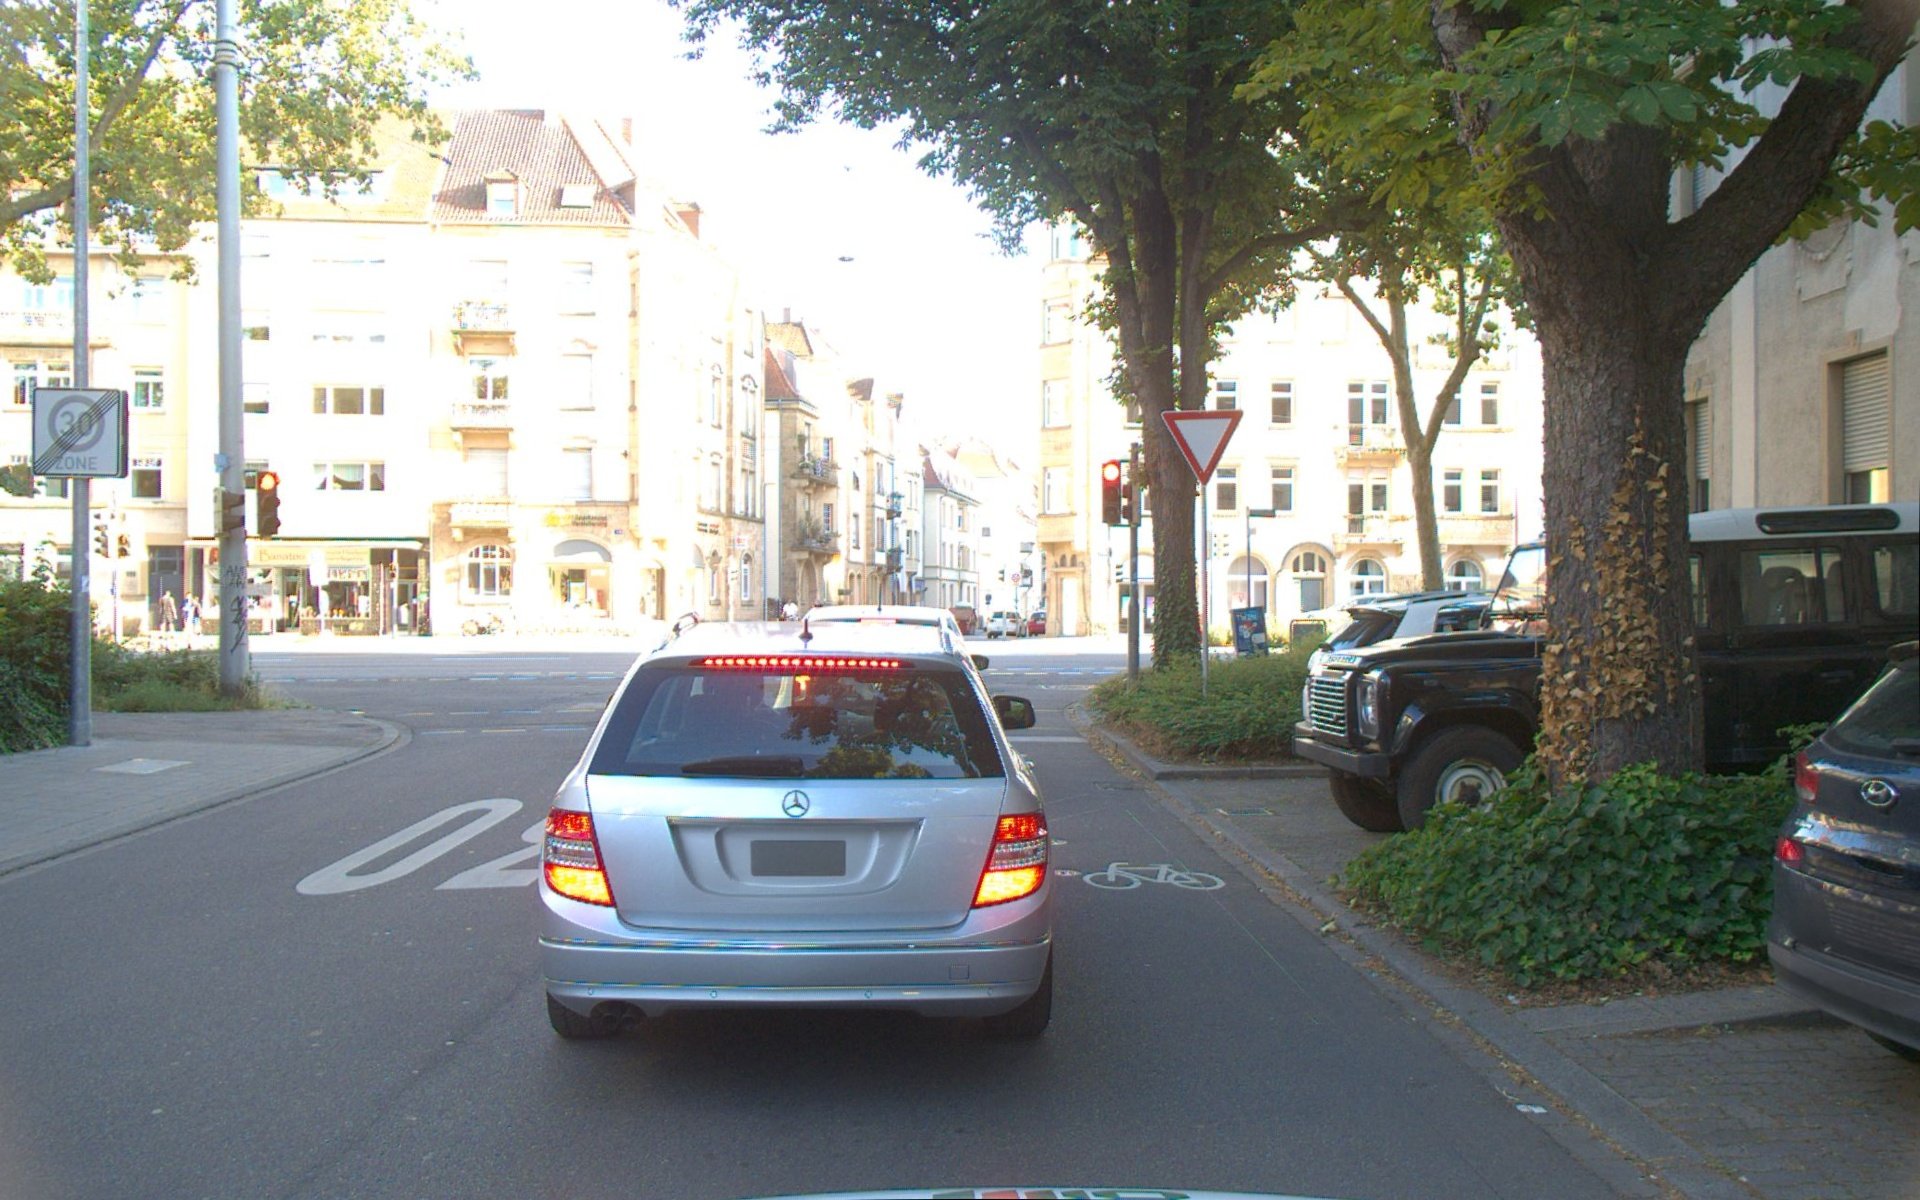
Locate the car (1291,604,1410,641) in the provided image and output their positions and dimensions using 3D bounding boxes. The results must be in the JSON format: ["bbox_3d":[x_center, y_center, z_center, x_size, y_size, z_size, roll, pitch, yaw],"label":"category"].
[{"bbox_3d":[11.850,0.668,50.288,3.296,1.087,1.380,0,0,-2],"label":"car"}]

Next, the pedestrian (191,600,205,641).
[{"bbox_3d":[-29.159,0.774,63.298,0.466,1.537,0.428,0,0,-21],"label":"pedestrian"}]

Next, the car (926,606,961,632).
[{"bbox_3d":[-1.079,1.250,108.667,1.615,1.632,3.866,0,-1,10],"label":"car"}]

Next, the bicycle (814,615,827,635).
[{"bbox_3d":[-6.169,1.085,73.177,0.557,0.849,1.564,0,0,-4],"label":"bicycle"}]

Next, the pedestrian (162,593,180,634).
[{"bbox_3d":[-29.846,0.521,62.556,0.557,1.537,0.499,0,0,-20],"label":"pedestrian"}]

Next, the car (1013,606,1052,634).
[{"bbox_3d":[4.484,1.195,102.128,1.684,1.503,4.004,-4,0,11],"label":"car"}]

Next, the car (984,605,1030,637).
[{"bbox_3d":[2.491,1.065,85.948,1.684,1.504,4.004,-2,0,11],"label":"car"}]

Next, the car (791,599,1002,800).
[{"bbox_3d":[-0.524,0.718,13.663,1.502,1.415,3.597,0,0,-2],"label":"car"}]

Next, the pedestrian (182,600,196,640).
[{"bbox_3d":[-29.869,0.765,64.075,0.502,1.537,0.532,0,0,-28],"label":"pedestrian"}]

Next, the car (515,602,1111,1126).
[{"bbox_3d":[-0.505,0.758,6.431,1.657,1.454,3.490,1,0,-3],"label":"car"}]

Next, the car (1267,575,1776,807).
[{"bbox_3d":[4.359,0.661,13.122,3.415,1.614,1.708,-1,0,-7],"label":"car"}]

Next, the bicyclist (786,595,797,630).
[{"bbox_3d":[-7.447,0.550,73.183,0.457,1.541,0.655,0,0,-4],"label":"bicyclist"}]

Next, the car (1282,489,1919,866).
[{"bbox_3d":[4.420,0.403,10.246,4.402,1.990,1.791,-2,0,-4],"label":"car"}]

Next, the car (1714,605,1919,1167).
[{"bbox_3d":[4.299,0.690,4.565,3.675,1.446,1.627,-2,-1,-4],"label":"car"}]

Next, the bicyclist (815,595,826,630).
[{"bbox_3d":[-6.205,0.548,73.461,0.457,1.547,0.693,0,0,-4],"label":"bicyclist"}]

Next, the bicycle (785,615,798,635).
[{"bbox_3d":[-7.447,1.100,73.144,0.557,0.849,1.564,0,0,-4],"label":"bicycle"}]

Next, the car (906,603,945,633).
[{"bbox_3d":[-2.116,1.105,102.387,1.615,1.814,3.866,0,-1,10],"label":"car"}]

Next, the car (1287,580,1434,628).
[{"bbox_3d":[12.576,0.111,52.130,4.199,1.487,1.786,0,1,-2],"label":"car"}]
